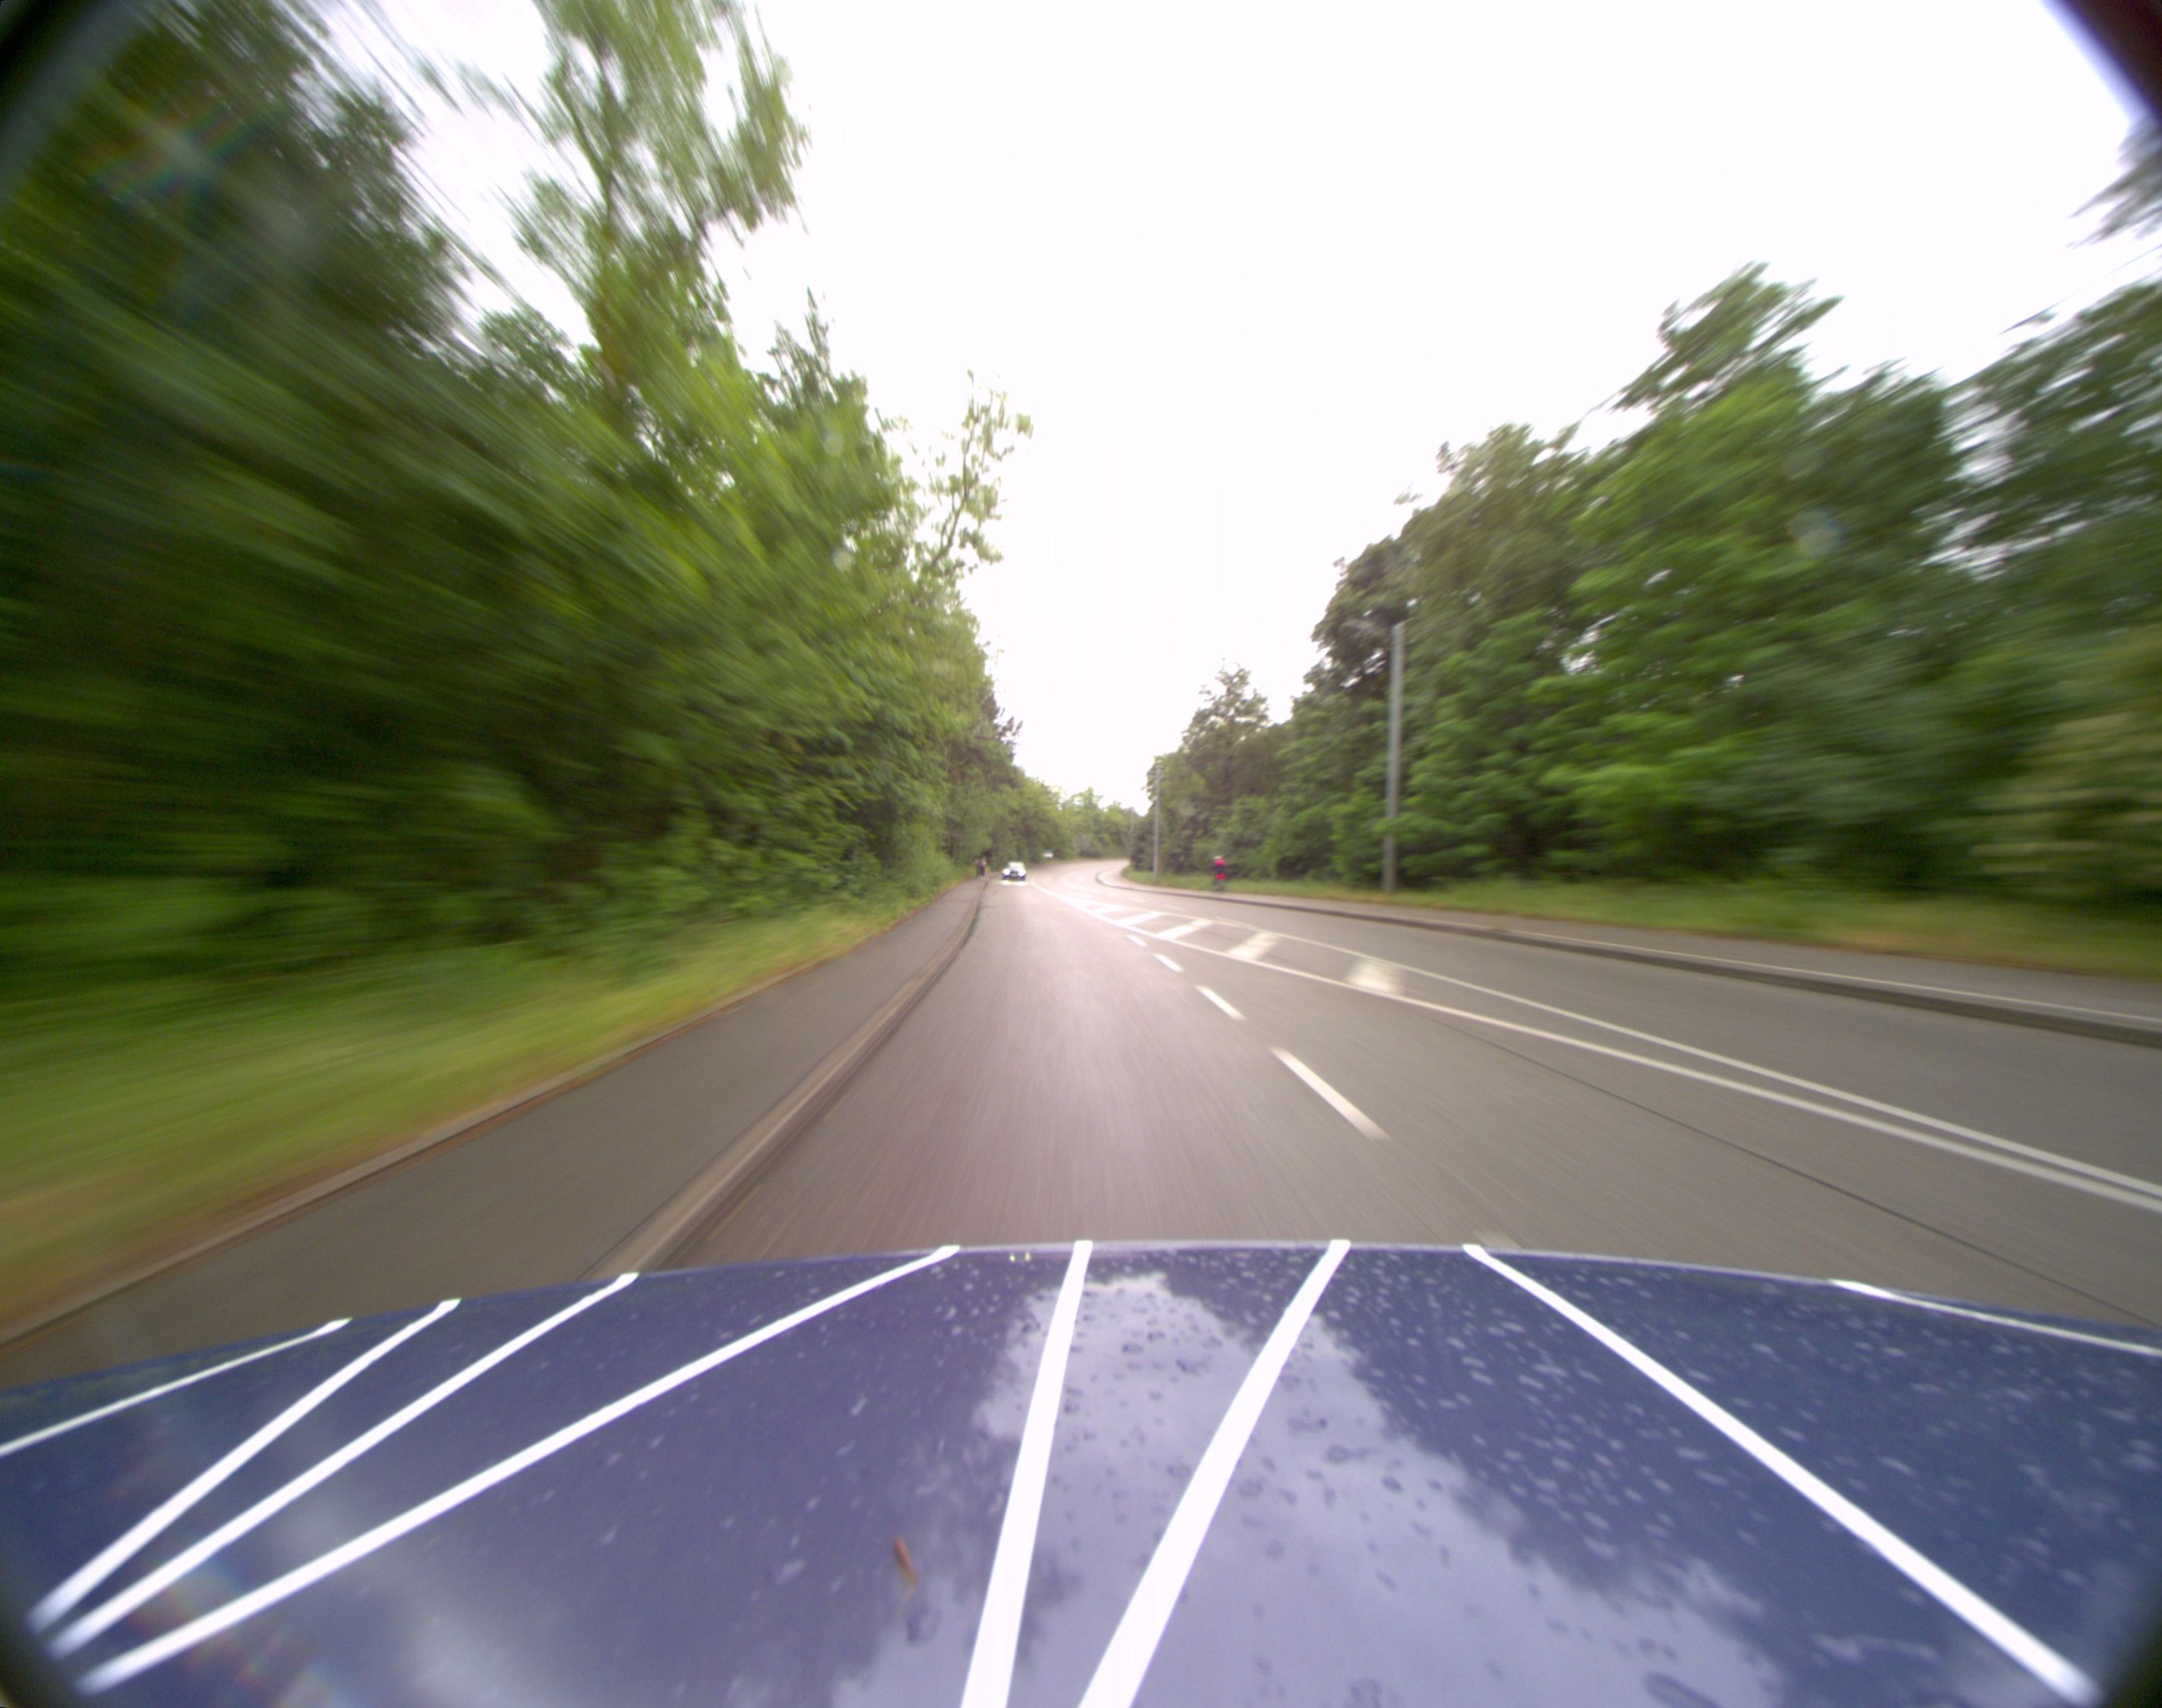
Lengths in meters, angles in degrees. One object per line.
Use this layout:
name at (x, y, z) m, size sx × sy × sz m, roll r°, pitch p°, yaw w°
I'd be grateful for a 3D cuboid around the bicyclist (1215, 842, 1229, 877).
bicyclist at (6.483, 0.246, 35.020) m, size 0.337 × 1.565 × 1.298 m, roll -1°, pitch 0°, yaw -3°

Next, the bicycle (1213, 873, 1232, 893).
bicycle at (6.499, 1.336, 35.003) m, size 0.356 × 0.844 × 2.093 m, roll -1°, pitch -1°, yaw -3°

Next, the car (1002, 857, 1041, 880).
car at (-4.722, 1.156, 60.495) m, size 1.829 × 1.511 × 4.005 m, roll 7°, pitch 0°, yaw 12°

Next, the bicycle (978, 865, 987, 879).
bicycle at (-6.827, 1.212, 52.780) m, size 0.356 × 0.844 × 1.742 m, roll 6°, pitch 2°, yaw -3°

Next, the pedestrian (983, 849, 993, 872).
pedestrian at (-6.555, 0.460, 53.389) m, size 0.565 × 1.568 × 0.769 m, roll 4°, pitch 3°, yaw -3°
